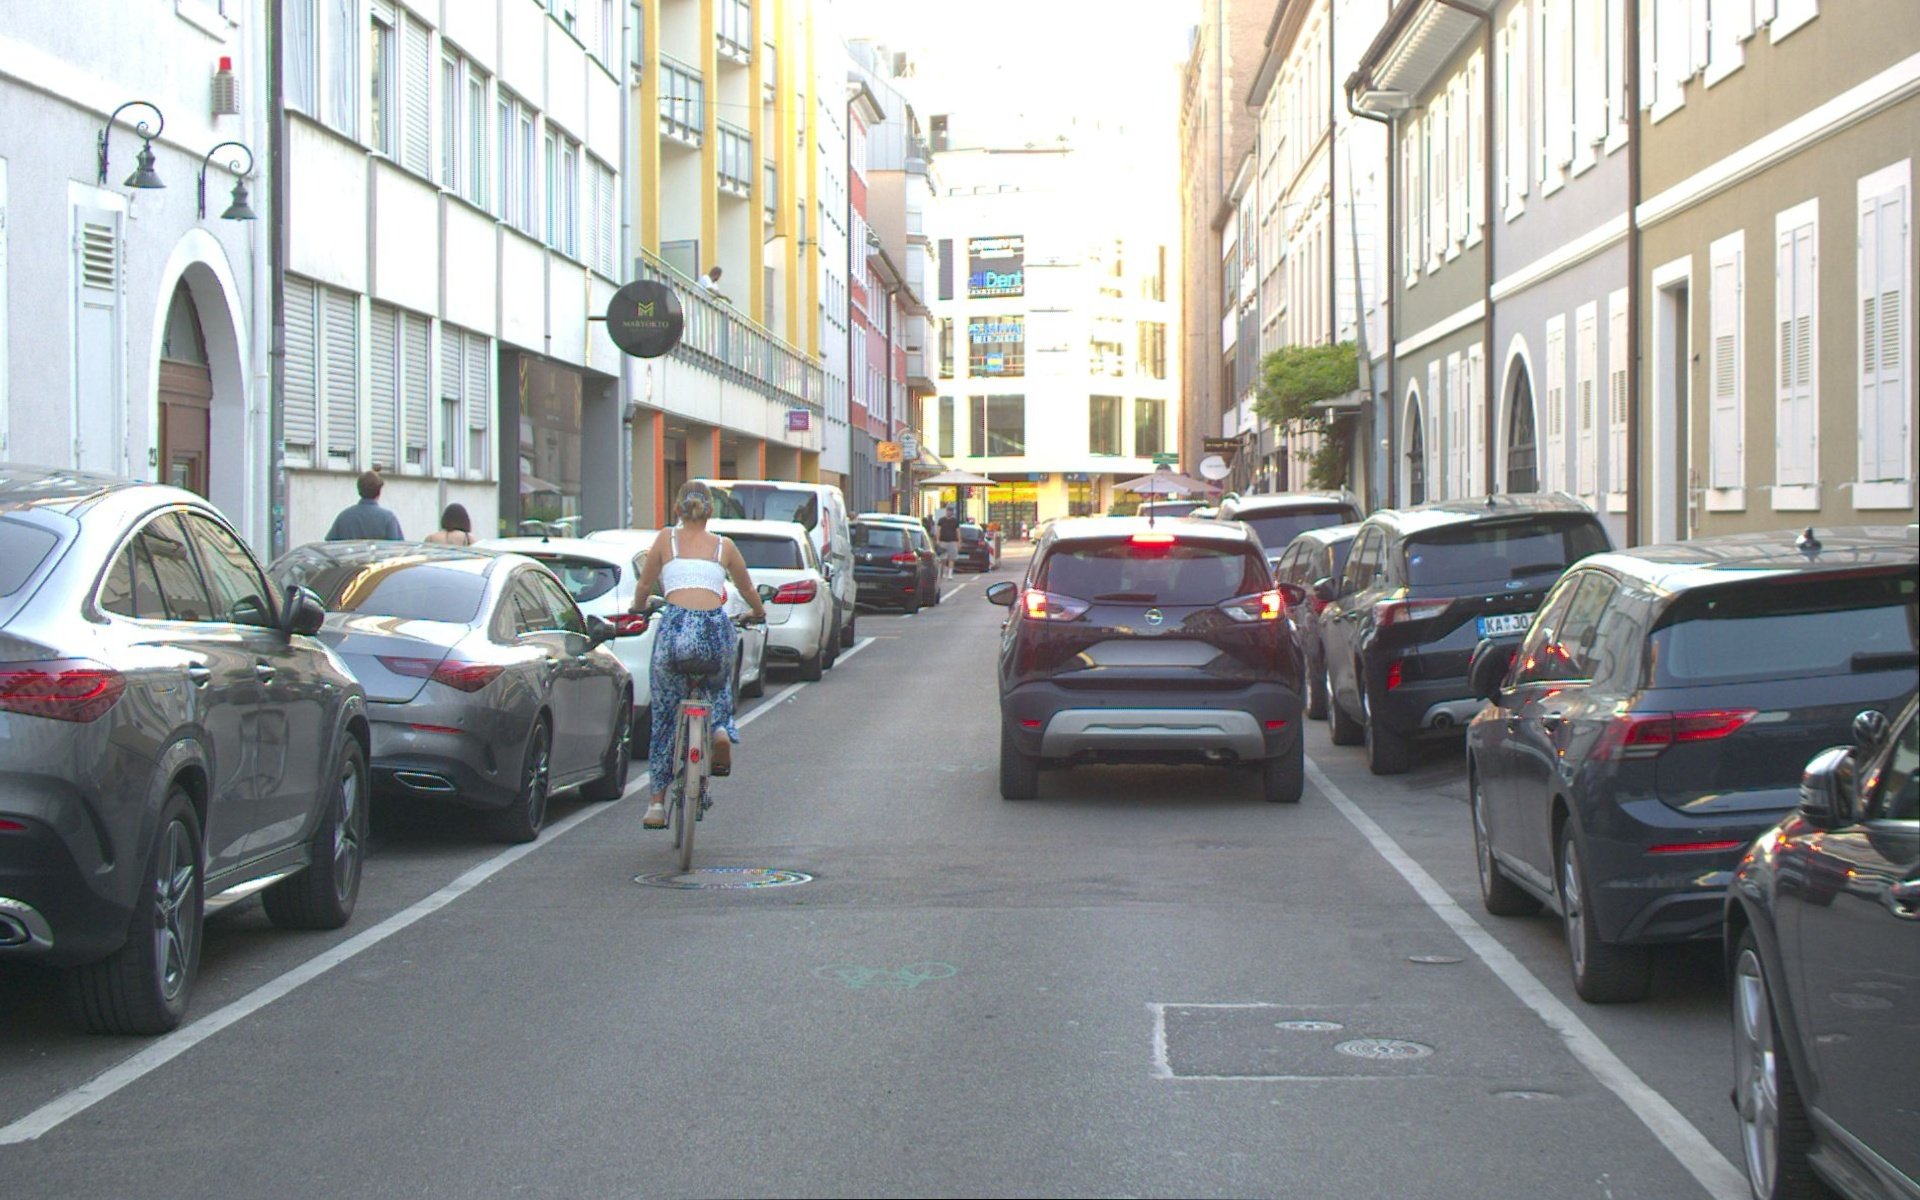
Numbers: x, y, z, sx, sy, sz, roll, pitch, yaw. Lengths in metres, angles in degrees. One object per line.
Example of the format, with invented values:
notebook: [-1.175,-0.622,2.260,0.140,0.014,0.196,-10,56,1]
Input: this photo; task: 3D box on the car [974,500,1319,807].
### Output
car: [1.056,0.232,20.483,1.819,1.612,4.000,1,2,2]

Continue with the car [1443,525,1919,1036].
car: [2.789,0.503,12.261,1.676,1.481,4.000,1,2,2]

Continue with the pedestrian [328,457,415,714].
pedestrian: [-4.629,-0.119,27.070,0.610,2.007,0.450,0,1,-1]

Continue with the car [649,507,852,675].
car: [-2.042,-0.135,34.380,1.653,1.555,3.605,1,2,2]

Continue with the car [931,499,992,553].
car: [0.066,-2.206,102.225,1.653,1.555,3.605,1,2,2]

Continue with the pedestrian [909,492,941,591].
pedestrian: [-0.613,-1.035,60.748,0.554,1.746,0.568,0,1,-1]

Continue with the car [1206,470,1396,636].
car: [3.391,-0.498,34.679,1.653,1.555,3.605,1,2,2]

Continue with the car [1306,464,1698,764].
car: [3.400,0.024,22.335,1.918,1.732,4.153,1,2,1]

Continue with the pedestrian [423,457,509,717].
pedestrian: [-3.847,-0.107,26.787,0.610,2.007,0.450,0,1,-1]

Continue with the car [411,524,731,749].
car: [-2.665,0.193,24.332,1.653,1.406,3.902,1,2,2]

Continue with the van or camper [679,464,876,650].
van or camper: [-2.071,-0.540,40.226,1.844,2.006,4.678,1,2,2]

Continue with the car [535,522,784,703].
car: [-2.507,0.058,29.420,1.653,1.406,3.605,1,2,2]

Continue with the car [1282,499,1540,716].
car: [3.484,0.004,27.089,1.653,1.555,3.605,1,2,2]

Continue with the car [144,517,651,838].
car: [-2.796,0.308,18.053,1.918,1.429,4.294,1,2,0]

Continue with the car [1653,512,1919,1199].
car: [2.447,0.602,5.576,1.819,1.524,5.071,-3,1,3]

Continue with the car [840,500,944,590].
car: [-1.200,-1.020,62.190,1.653,1.555,3.605,1,2,2]

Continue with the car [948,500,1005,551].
car: [0.552,-2.382,108.978,1.653,1.555,3.605,1,2,2]

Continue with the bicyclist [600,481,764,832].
bicyclist: [-1.271,0.244,15.779,0.621,1.569,0.683,0,1,7]

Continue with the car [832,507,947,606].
car: [-1.136,-0.749,56.882,1.653,1.555,3.605,1,2,2]

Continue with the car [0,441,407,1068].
car: [-3.268,0.341,11.629,1.998,1.701,4.536,1,2,1]

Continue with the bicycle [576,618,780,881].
bicycle: [-1.270,0.652,15.791,0.613,1.078,1.809,0,1,6]

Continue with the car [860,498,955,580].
car: [-1.018,-1.224,67.876,1.653,1.555,3.605,1,2,2]
